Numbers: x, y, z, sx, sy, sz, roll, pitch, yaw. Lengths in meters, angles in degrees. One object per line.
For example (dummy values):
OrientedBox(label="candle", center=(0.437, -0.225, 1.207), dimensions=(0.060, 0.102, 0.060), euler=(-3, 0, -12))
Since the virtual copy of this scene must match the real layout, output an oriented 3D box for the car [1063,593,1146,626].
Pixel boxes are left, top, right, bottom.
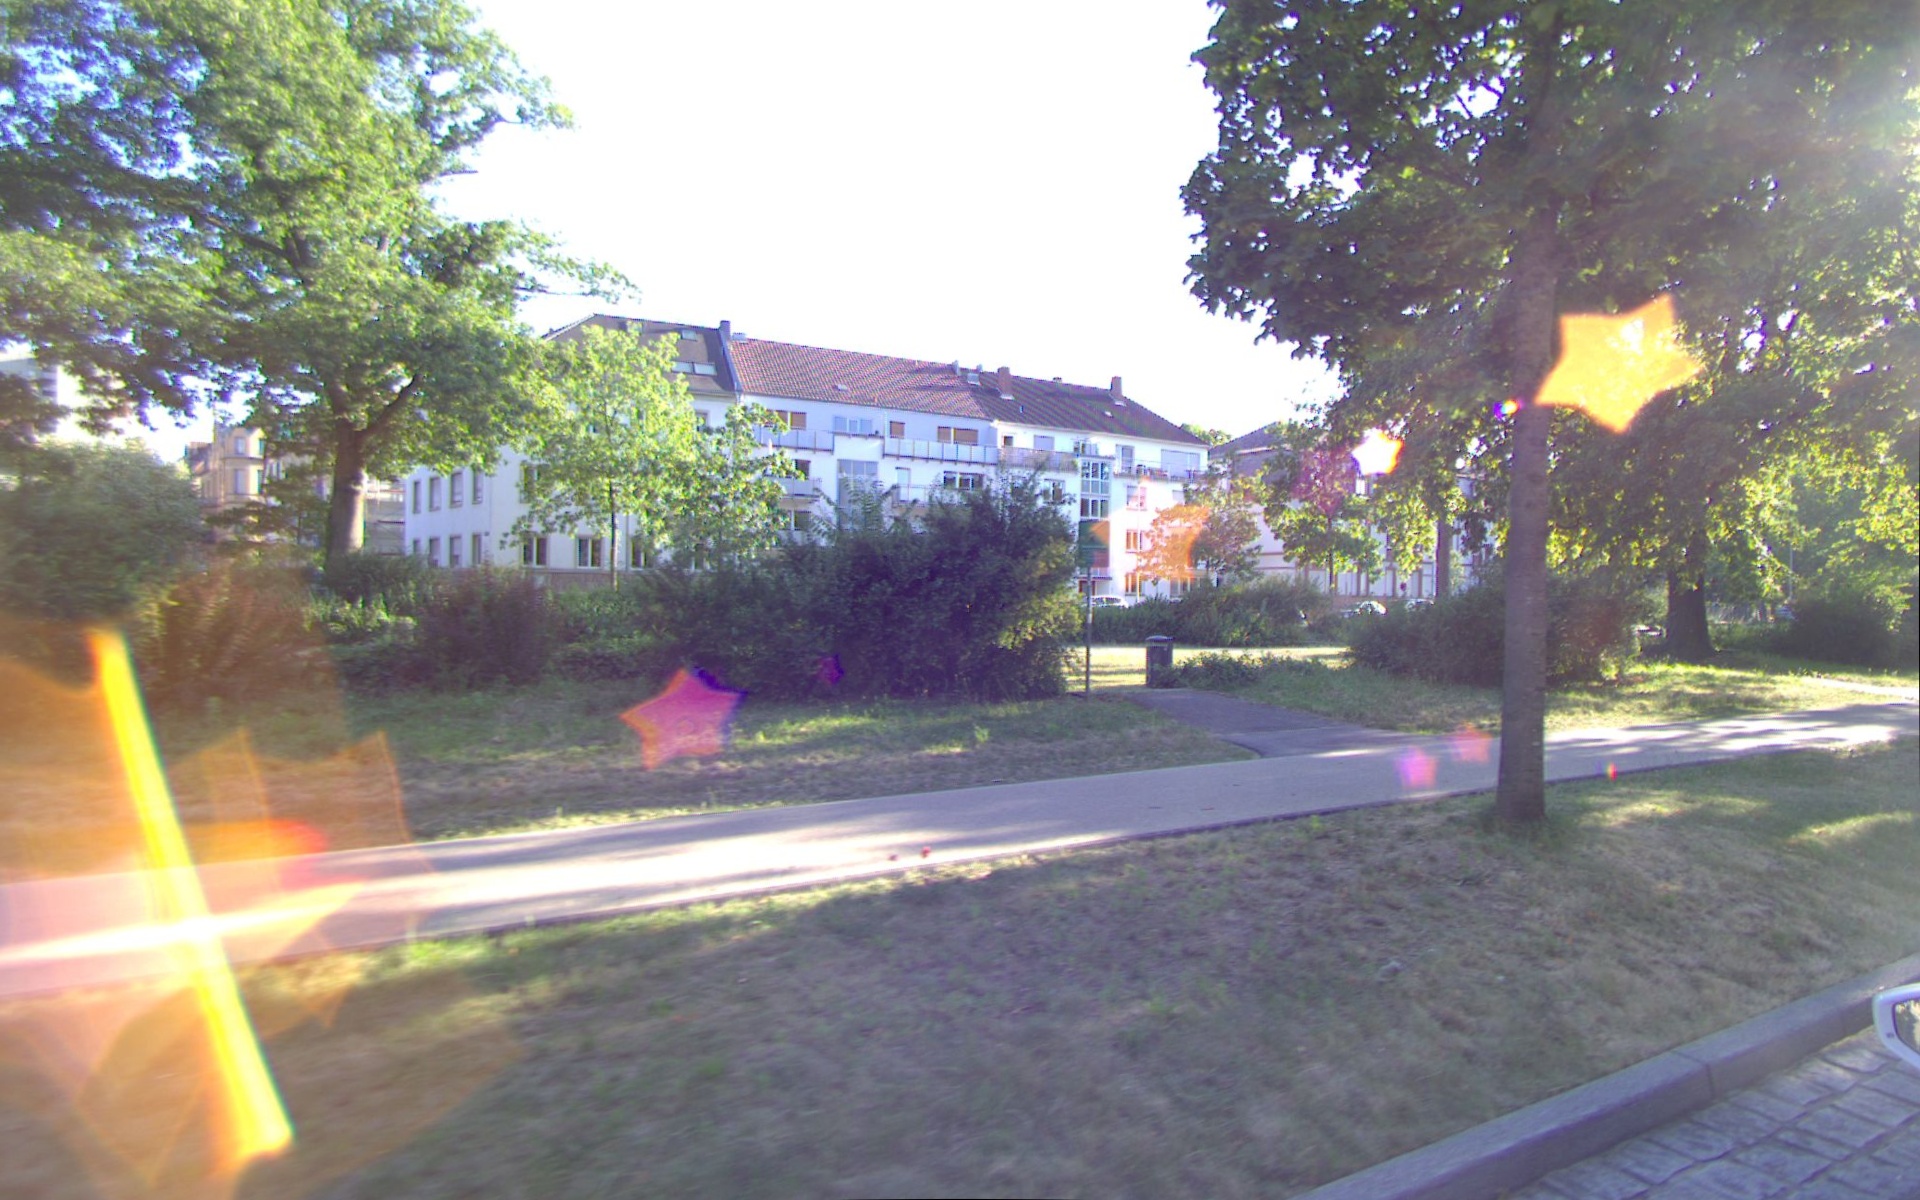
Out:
OrientedBox(label="car", center=(8.544, 0.547, 59.417), dimensions=(4.525, 1.877, 1.986), euler=(1, 0, -27))
